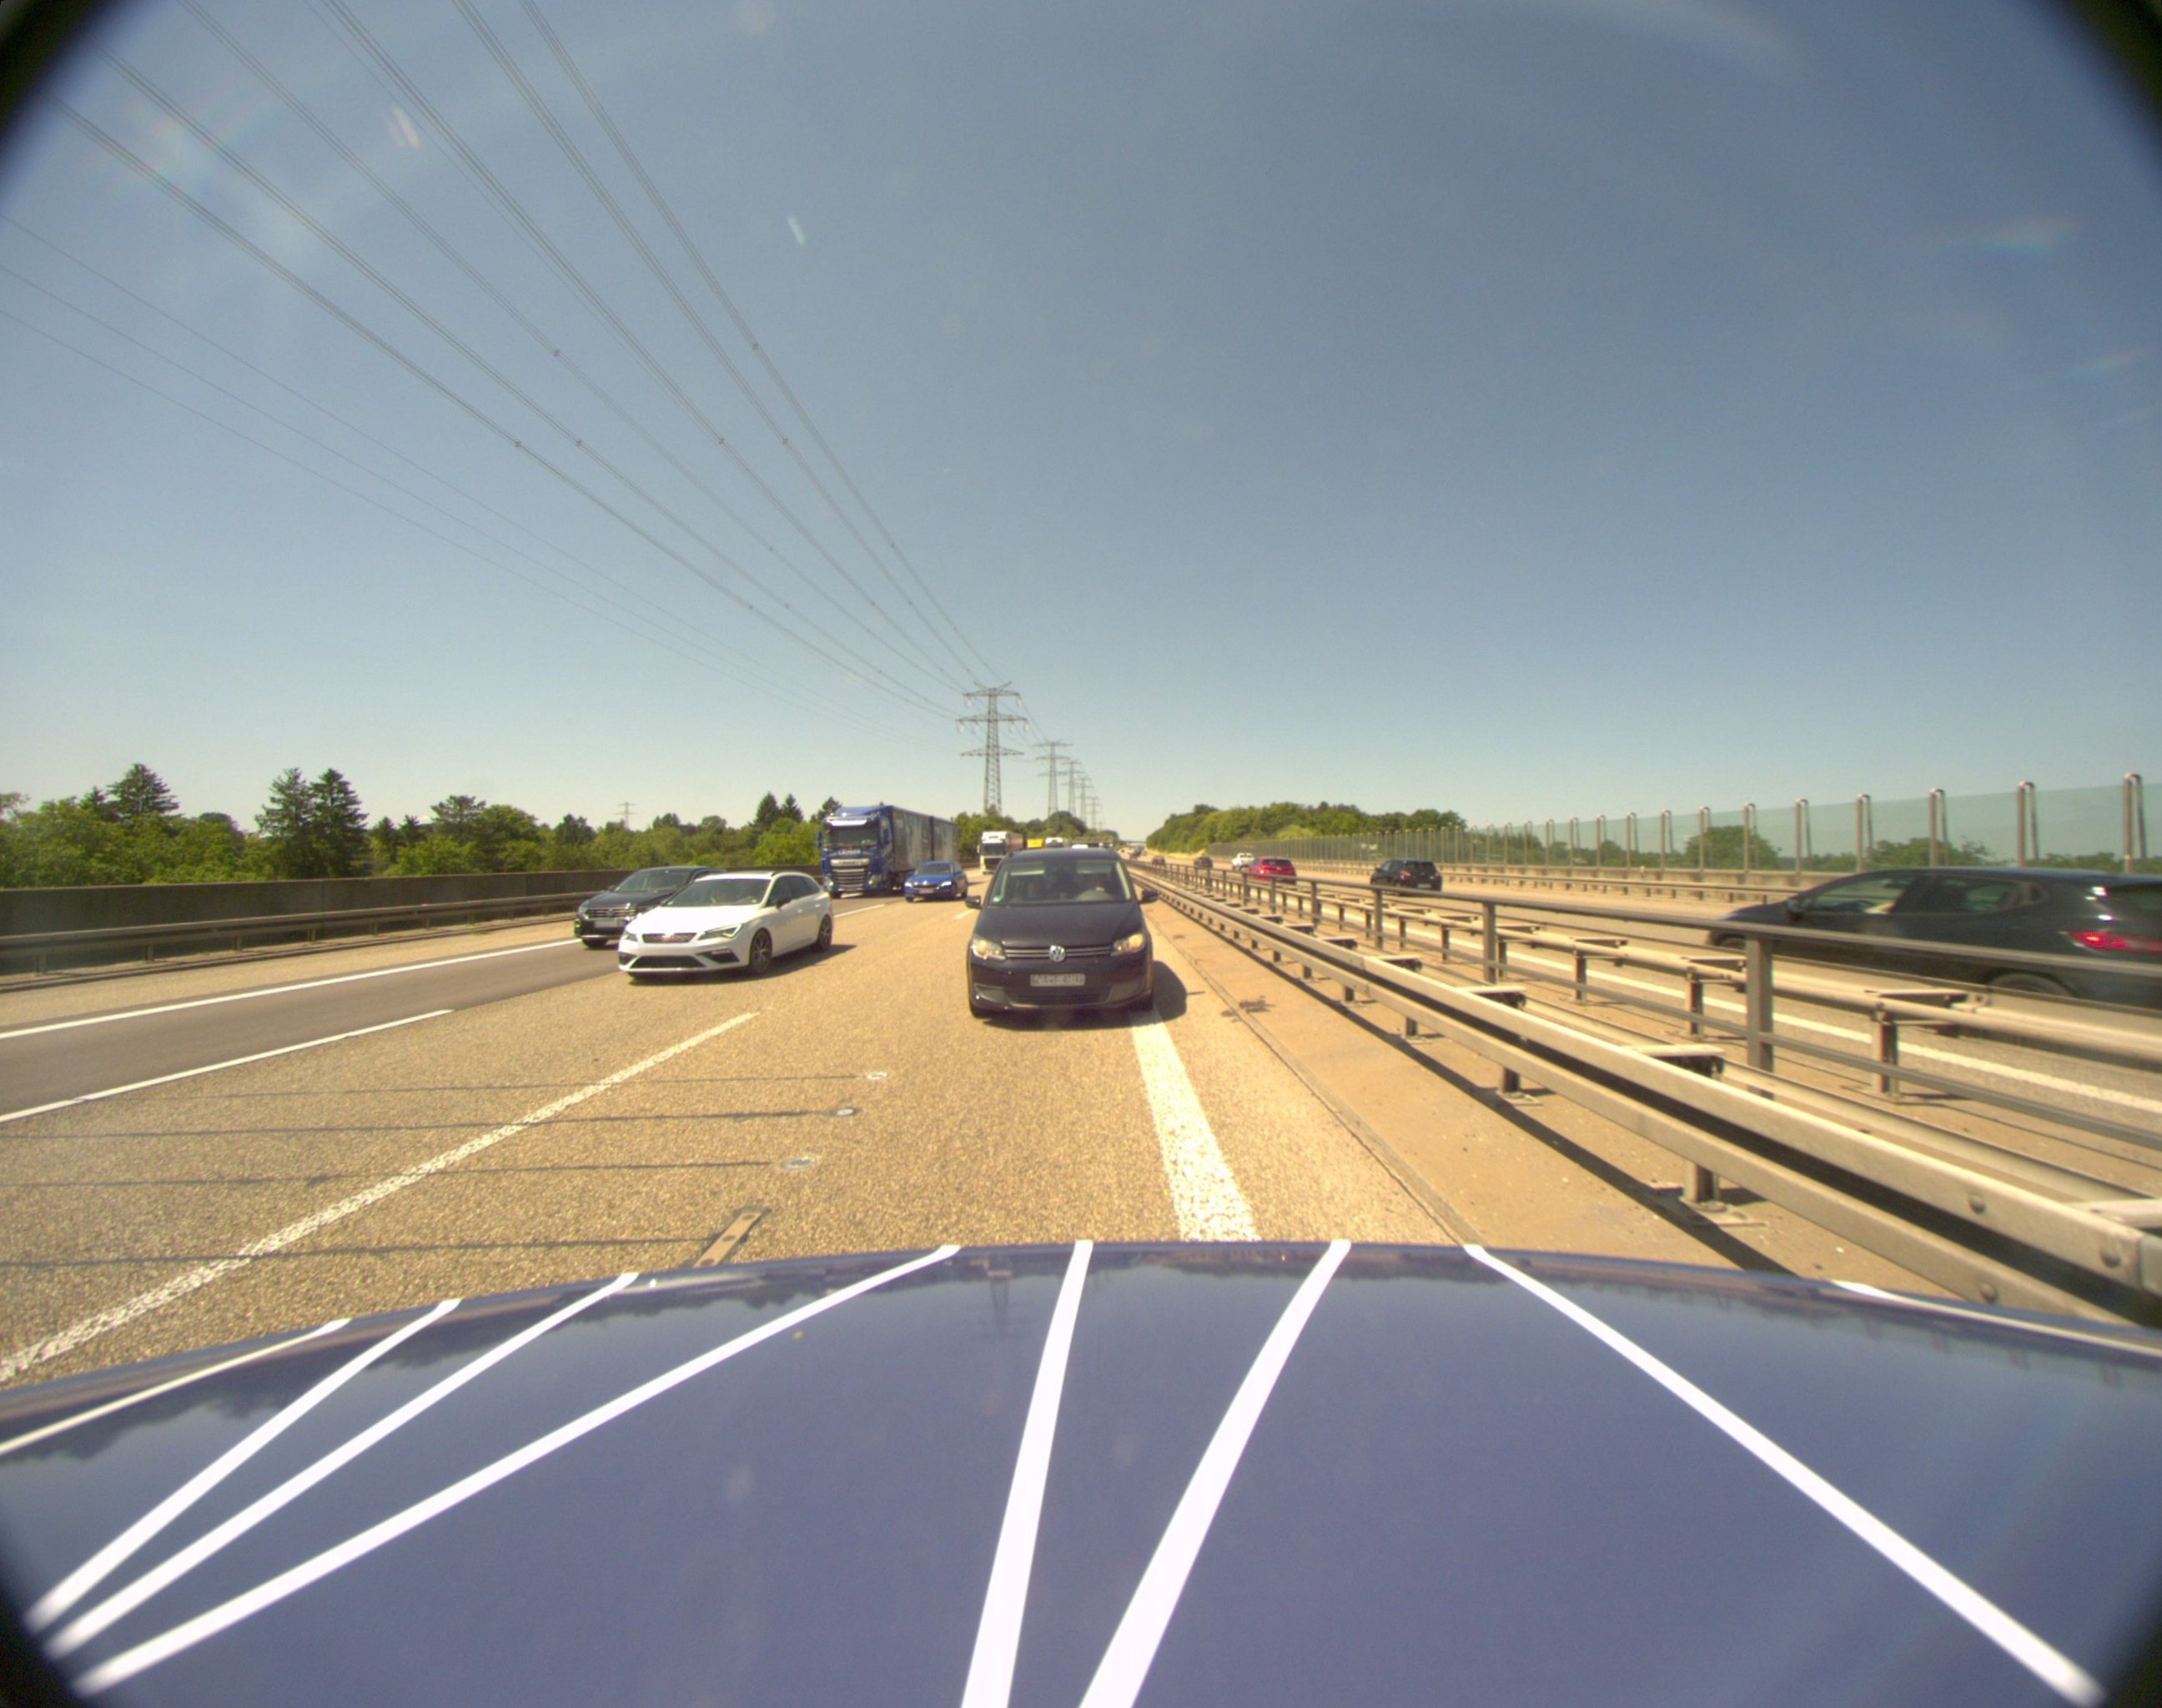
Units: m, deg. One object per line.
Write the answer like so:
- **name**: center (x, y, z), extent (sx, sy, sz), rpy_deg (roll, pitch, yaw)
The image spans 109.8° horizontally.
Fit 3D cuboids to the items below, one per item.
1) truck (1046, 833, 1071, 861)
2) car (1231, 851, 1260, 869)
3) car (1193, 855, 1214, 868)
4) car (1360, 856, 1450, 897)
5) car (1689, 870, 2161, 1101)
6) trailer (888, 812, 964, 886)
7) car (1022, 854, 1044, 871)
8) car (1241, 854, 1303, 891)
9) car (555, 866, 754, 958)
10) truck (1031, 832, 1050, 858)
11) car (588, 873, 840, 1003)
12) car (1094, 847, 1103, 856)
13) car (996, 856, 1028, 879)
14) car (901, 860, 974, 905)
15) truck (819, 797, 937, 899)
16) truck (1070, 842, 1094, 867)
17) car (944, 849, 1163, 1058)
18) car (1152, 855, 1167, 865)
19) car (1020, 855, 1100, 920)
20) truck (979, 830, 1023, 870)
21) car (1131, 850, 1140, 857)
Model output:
- **truck**: center (-3.232, -1.039, 110.186), extent (2.980, 3.832, 10.561), rpy_deg (-2, 1, 1)
- **car**: center (18.068, 0.608, 83.554), extent (1.998, 1.874, 5.255), rpy_deg (1, 0, 0)
- **car**: center (13.340, 0.833, 82.721), extent (1.601, 1.342, 4.179), rpy_deg (1, 0, 1)
- **car**: center (12.877, 0.844, 30.518), extent (1.734, 1.483, 4.419), rpy_deg (1, 0, 0)
- **car**: center (8.005, 0.939, 6.989), extent (1.672, 1.439, 4.000), rpy_deg (2, 0, 2)
- **trailer**: center (-9.086, -0.306, 45.456), extent (2.572, 3.922, 8.479), rpy_deg (-2, 1, 1)
- **car**: center (-4.313, 0.745, 68.795), extent (1.763, 1.495, 4.094), rpy_deg (-1, 0, 0)
- **car**: center (8.567, 0.798, 34.344), extent (1.795, 1.469, 3.989), rpy_deg (2, 0, 1)
- **car**: center (-8.631, 1.089, 15.862), extent (1.740, 1.518, 4.106), rpy_deg (-2, 0, 1)
- **truck**: center (-6.635, -1.433, 124.234), extent (2.346, 4.058, 8.278), rpy_deg (-2, 1, 1)
- **car**: center (-5.196, 1.088, 11.460), extent (1.843, 1.481, 4.071), rpy_deg (0, 0, -1)
- **car**: center (3.848, -0.595, 167.443), extent (1.998, 2.002, 4.000), rpy_deg (-2, 1, 1)
- **car**: center (-4.662, 0.885, 51.743), extent (1.763, 1.495, 4.094), rpy_deg (-1, 0, 0)
- **car**: center (-5.263, 1.007, 28.411), extent (1.739, 1.437, 4.210), rpy_deg (-1, 0, 2)
- **truck**: center (-9.223, -0.282, 35.984), extent (2.529, 4.043, 10.446), rpy_deg (-2, 0, 1)
- **truck**: center (0.155, 0.015, 79.608), extent (2.284, 2.479, 5.861), rpy_deg (-2, 1, 1)
- **car**: center (-0.213, 0.808, 8.262), extent (1.740, 1.652, 3.999), rpy_deg (-2, 1, 0)
- **car**: center (10.485, 0.833, 101.570), extent (1.601, 1.310, 4.341), rpy_deg (1, 0, 0)
- **car**: center (-0.473, 0.802, 20.235), extent (1.845, 1.495, 4.377), rpy_deg (-1, 0, 1)
- **truck**: center (-7.852, -0.411, 76.056), extent (2.985, 3.538, 10.967), rpy_deg (-2, 1, 1)
- **car**: center (12.965, -0.139, 181.492), extent (1.810, 1.618, 4.477), rpy_deg (0, 0, 0)
